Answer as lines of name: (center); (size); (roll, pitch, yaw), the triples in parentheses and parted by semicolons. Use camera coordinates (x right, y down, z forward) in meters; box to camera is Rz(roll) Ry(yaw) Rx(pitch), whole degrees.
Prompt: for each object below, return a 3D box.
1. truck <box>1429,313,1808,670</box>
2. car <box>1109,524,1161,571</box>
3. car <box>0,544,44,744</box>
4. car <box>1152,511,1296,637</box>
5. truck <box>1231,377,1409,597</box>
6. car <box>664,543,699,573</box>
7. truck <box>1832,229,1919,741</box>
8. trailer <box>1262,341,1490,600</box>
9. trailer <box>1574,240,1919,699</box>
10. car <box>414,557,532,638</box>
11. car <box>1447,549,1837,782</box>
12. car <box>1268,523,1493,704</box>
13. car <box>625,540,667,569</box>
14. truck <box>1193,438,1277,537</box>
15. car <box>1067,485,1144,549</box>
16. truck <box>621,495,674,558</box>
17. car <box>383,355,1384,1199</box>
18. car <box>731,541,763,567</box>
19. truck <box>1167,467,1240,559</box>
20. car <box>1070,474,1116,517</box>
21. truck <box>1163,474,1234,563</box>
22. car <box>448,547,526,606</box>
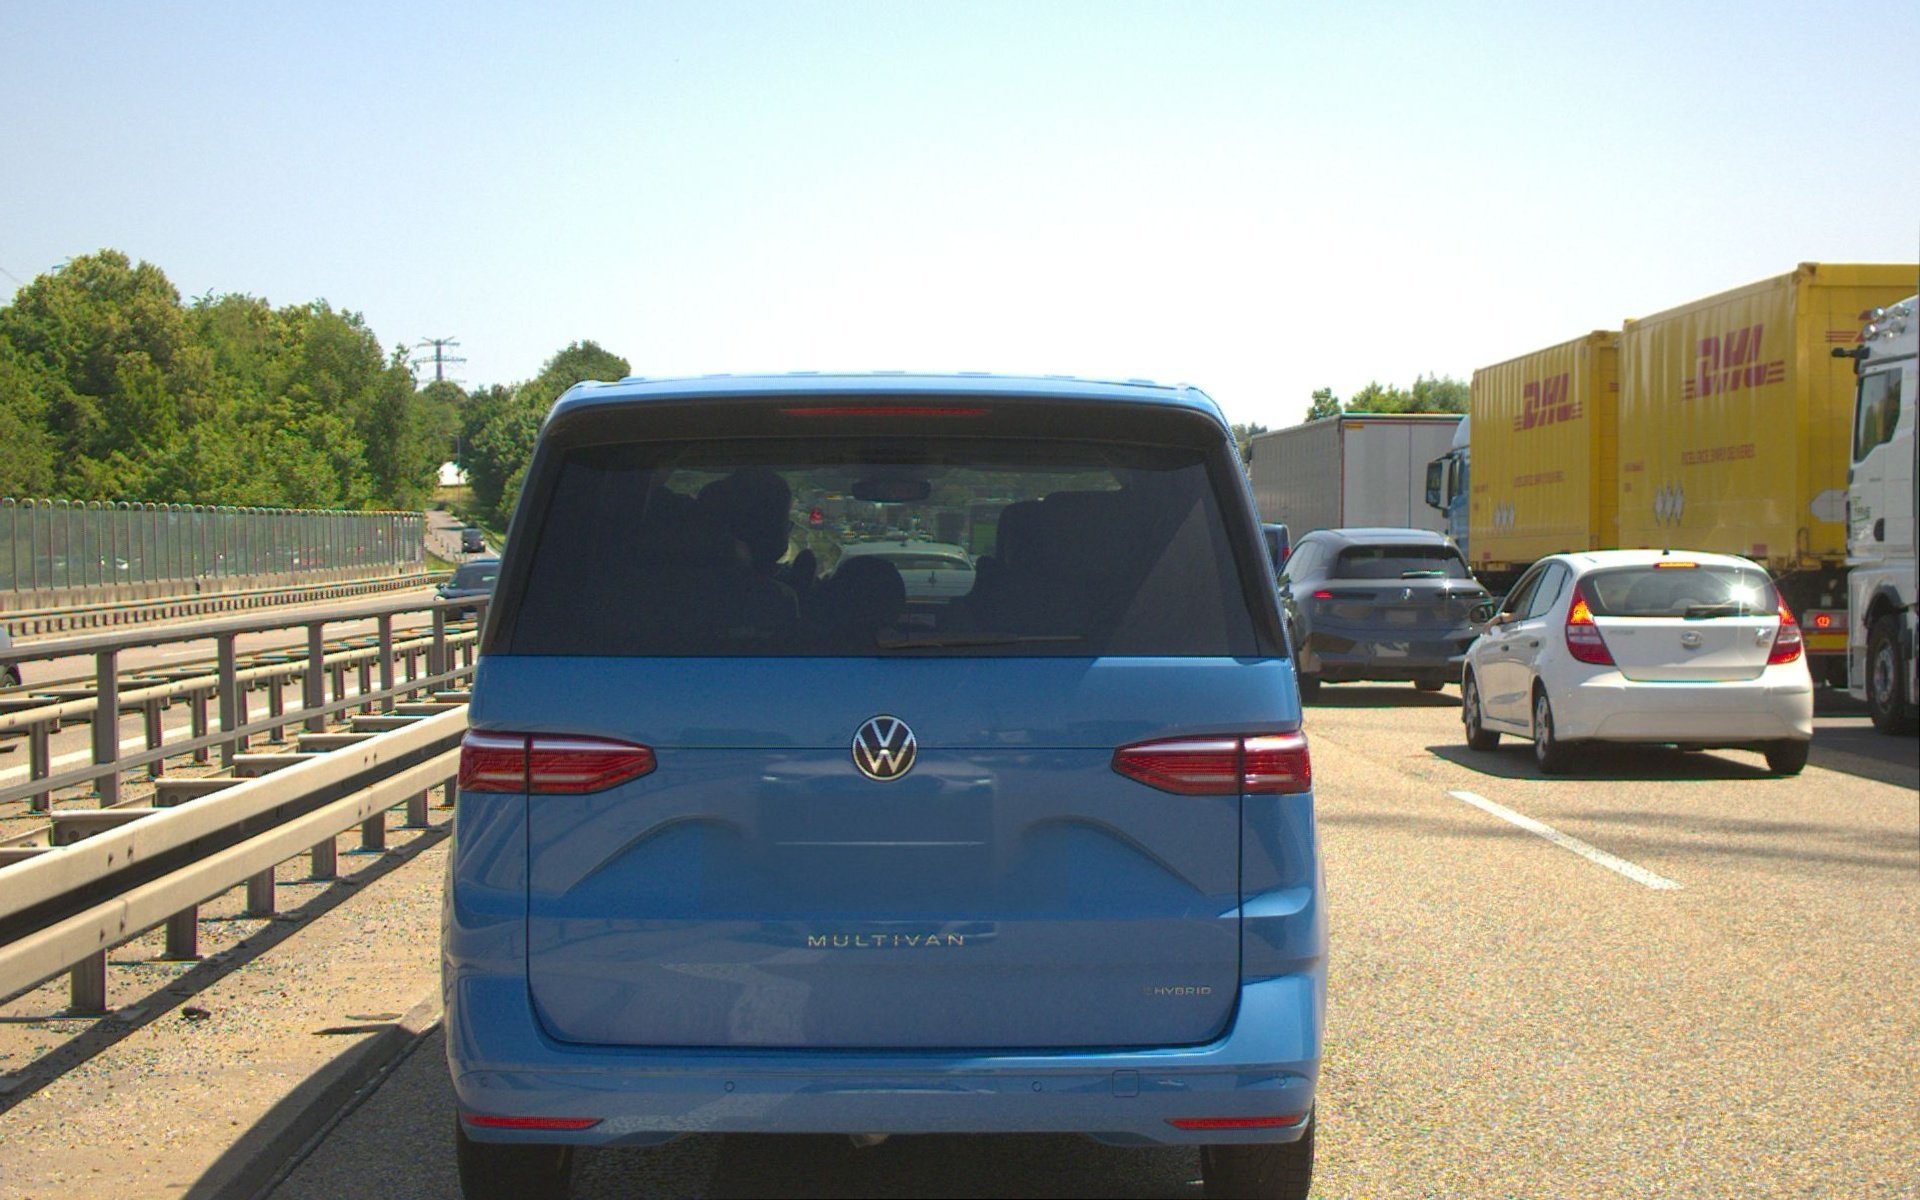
truck: (8.272, -1.281, 44.607); (2.699, 4.074, 9.940); (1, 0, -2)
car: (6.770, -2.016, 133.164); (1.797, 1.745, 3.943); (1, 0, 0)
car: (-8.326, 0.330, 25.832); (1.881, 1.547, 4.190); (1, 0, -2)
car: (4.226, -0.422, 55.532); (1.962, 1.929, 3.932); (1, 0, -1)
truck: (7.912, -2.419, 76.549); (3.026, 4.595, 7.921); (1, 0, 0)
car: (-17.379, -2.608, 214.474); (1.839, 1.816, 4.748); (-1, 0, -1)
truck: (8.811, -0.848, 23.377); (2.852, 3.921, 10.610); (1, 0, -1)
trailer: (7.943, -2.366, 67.120); (3.026, 4.595, 10.925); (1, 0, 0)
trailer: (8.597, -1.182, 35.180); (2.682, 4.074, 8.981); (1, 0, -2)
car: (-9.710, -0.065, 68.762); (1.881, 1.547, 4.190); (1, 0, -2)
car: (4.633, 0.404, 23.909); (1.815, 1.465, 3.932); (1, 0, -1)
car: (4.129, 0.116, 34.278); (1.815, 1.673, 3.932); (1, 0, 1)
car: (-16.678, -2.406, 182.707); (1.871, 1.437, 4.386); (-2, 1, -1)
truck: (7.190, -2.926, 90.264); (1.798, 2.441, 4.504); (1, 0, 0)
car: (4.079, -2.311, 96.878); (1.919, 1.700, 4.000); (1, 0, -1)
truck: (-22.220, -5.208, 244.642); (2.929, 4.279, 6.858); (-3, 0, 0)
car: (-0.170, 0.457, 8.712); (1.930, 1.867, 4.000); (1, 0, -1)
car: (-14.324, -3.101, 230.981); (1.871, 1.524, 3.609); (-6, 1, -1)
truck: (7.014, -2.492, 99.276); (1.742, 2.540, 4.210); (1, 0, 0)
car: (5.729, -4.505, 148.796); (1.797, 1.745, 3.943); (1, 0, 0)
truck: (7.201, -2.443, 104.312); (1.797, 2.587, 4.305); (1, 0, 0)
car: (-13.999, -0.690, 101.935); (1.806, 1.634, 4.000); (-2, 0, -2)
